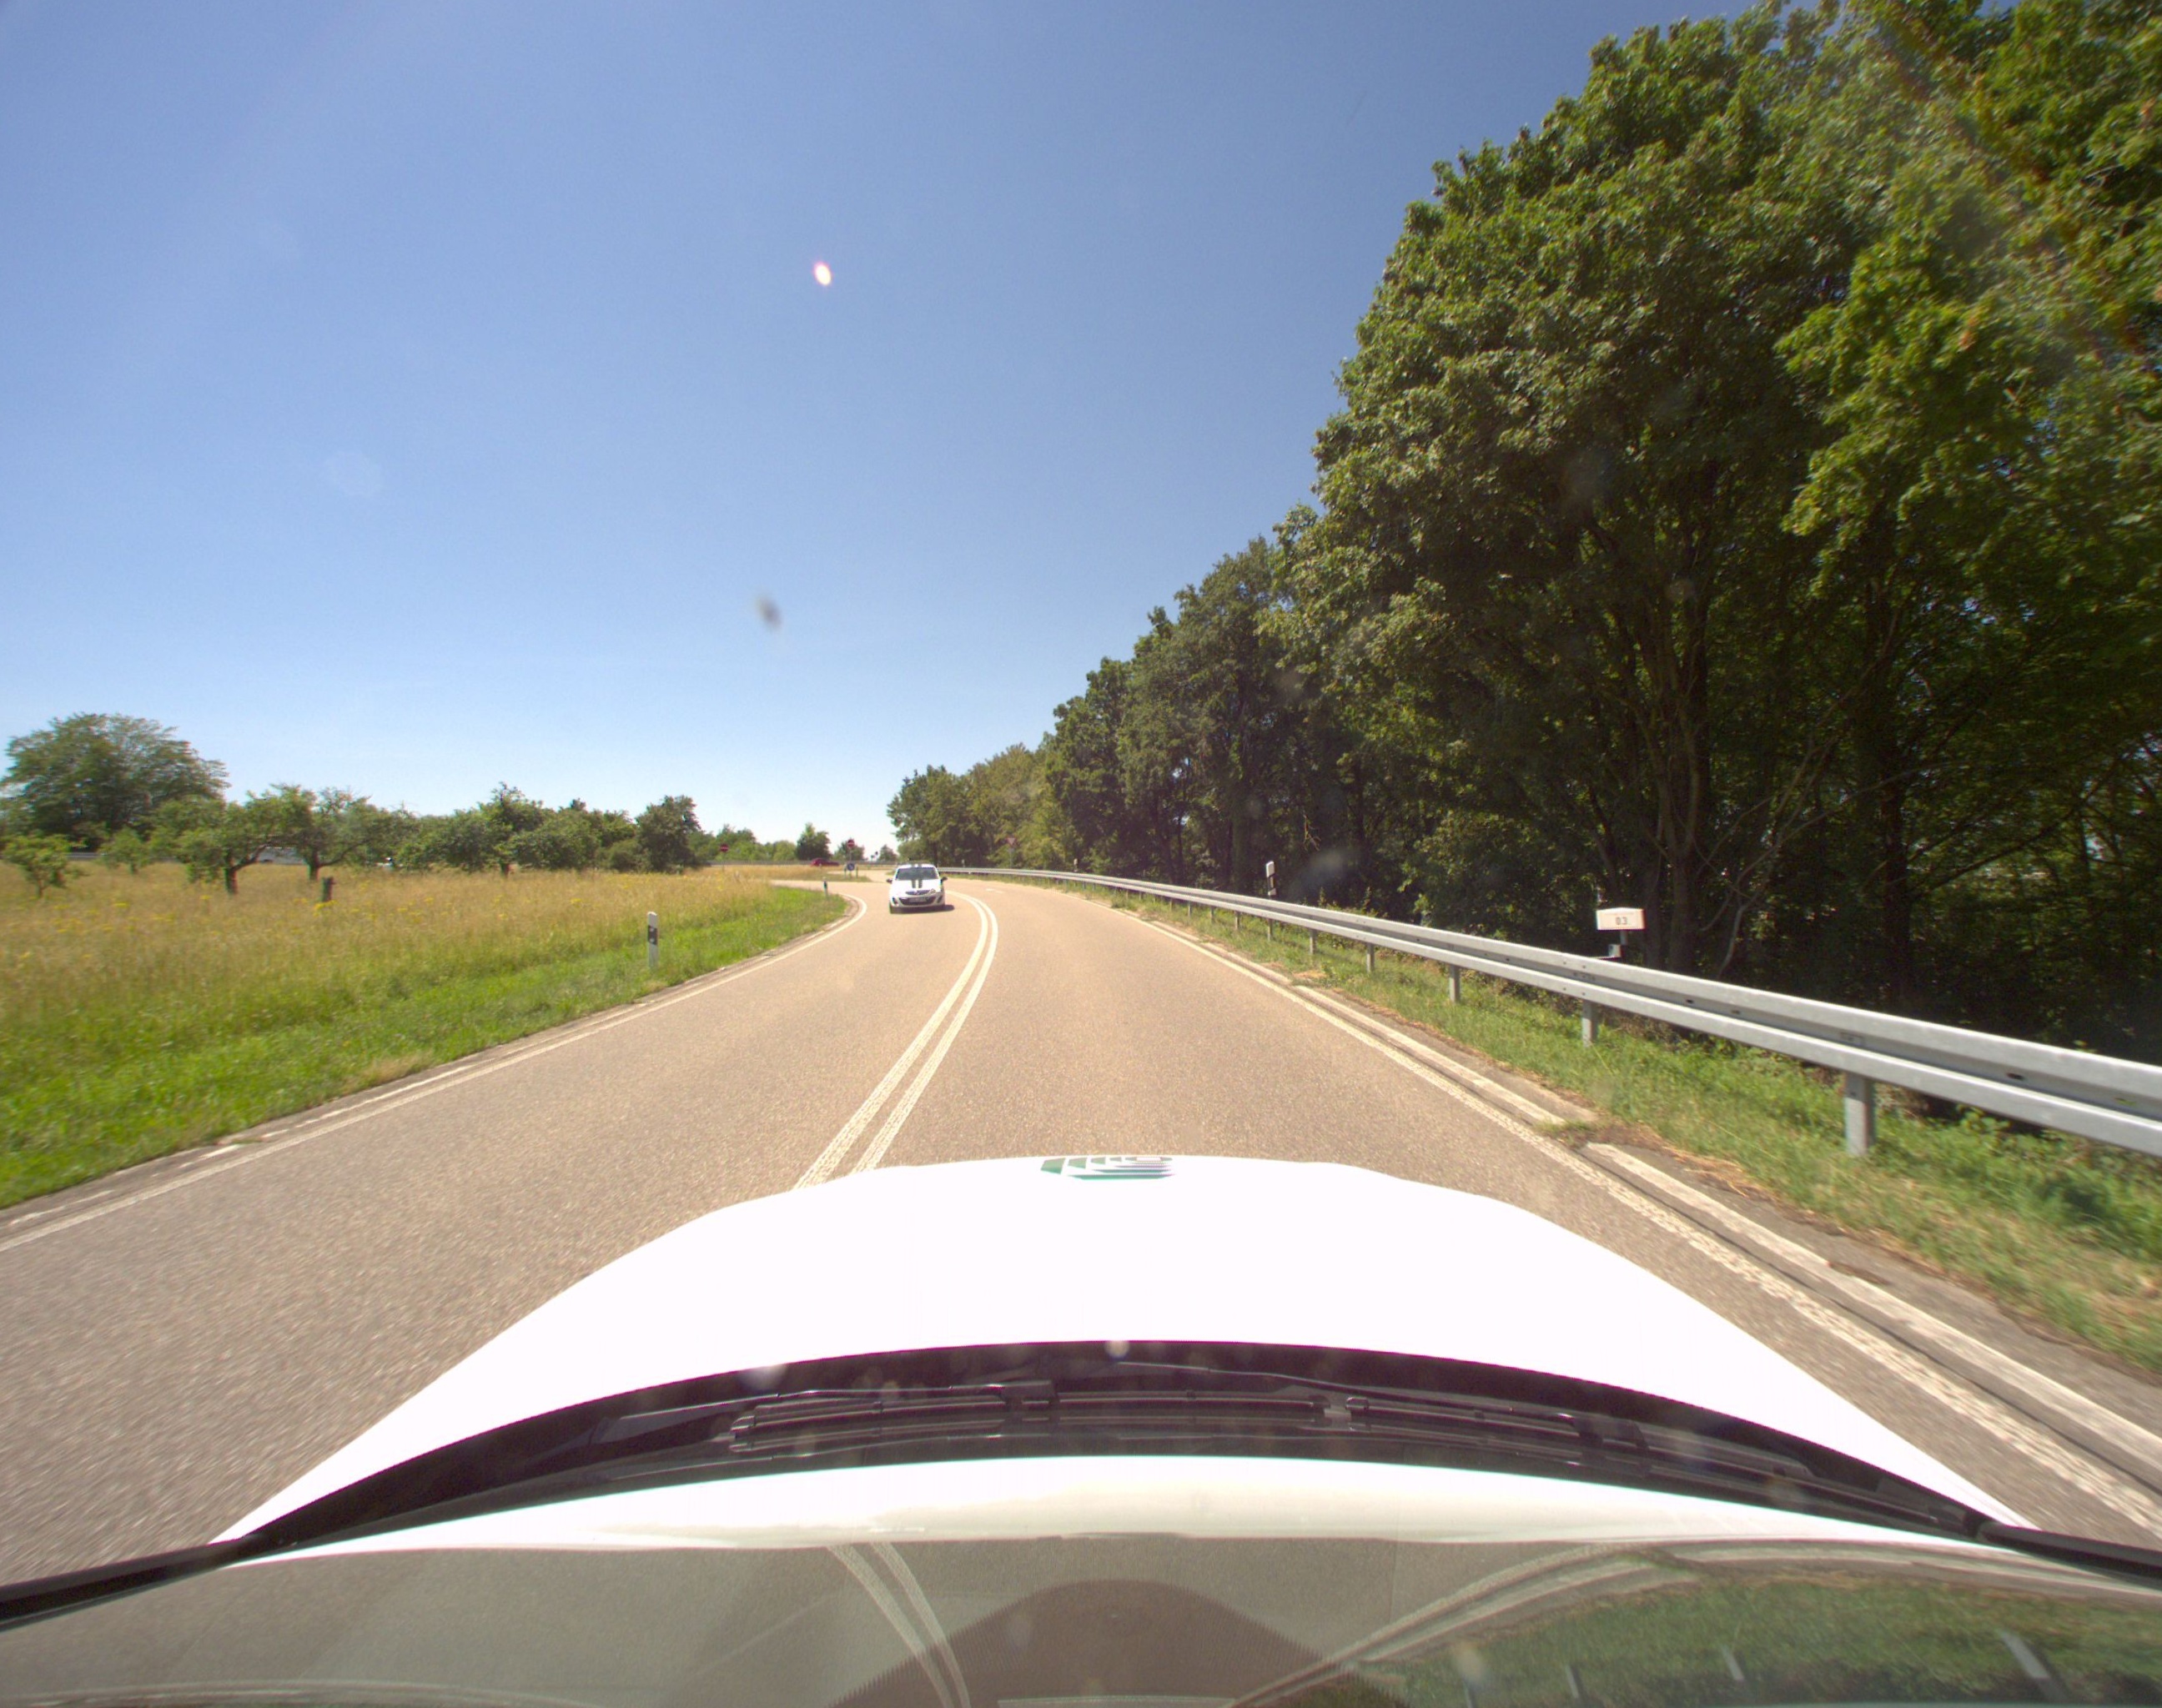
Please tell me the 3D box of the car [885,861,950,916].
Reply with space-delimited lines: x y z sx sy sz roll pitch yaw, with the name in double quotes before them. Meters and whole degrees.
"car" -5.267 1.031 26.362 1.823 1.506 4.156 -3 1 -11
